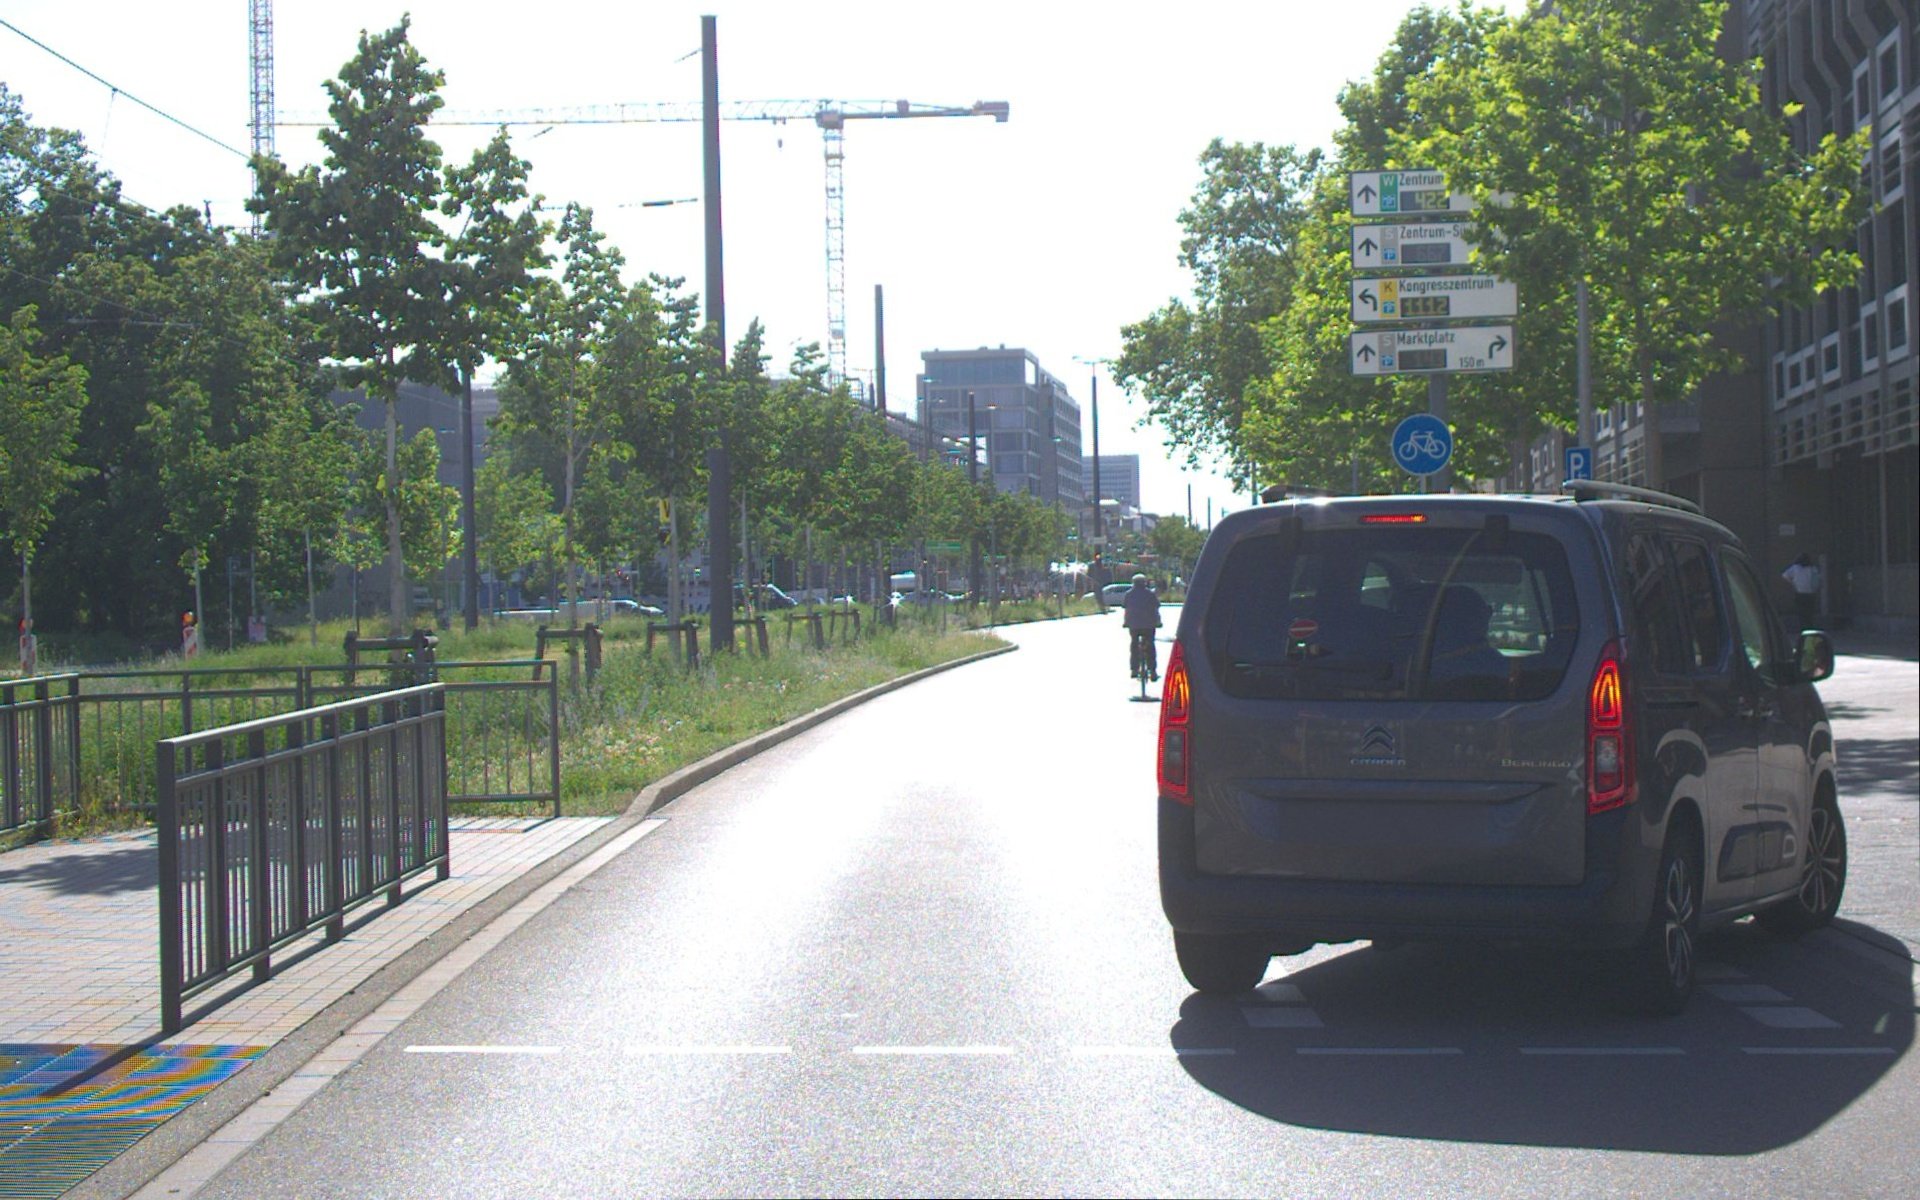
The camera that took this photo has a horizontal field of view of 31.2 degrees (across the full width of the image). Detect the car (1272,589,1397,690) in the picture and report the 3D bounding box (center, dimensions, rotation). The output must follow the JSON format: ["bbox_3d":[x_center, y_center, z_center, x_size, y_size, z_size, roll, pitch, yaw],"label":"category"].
[{"bbox_3d":[5.889,0.595,54.423,1.618,1.460,4.155,-3,0,2],"label":"car"}]

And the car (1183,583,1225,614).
[{"bbox_3d":[12.273,-0.085,172.640,1.912,1.481,4.008,-1,0,6],"label":"car"}]

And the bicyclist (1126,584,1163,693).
[{"bbox_3d":[2.715,0.566,50.641,0.512,1.596,0.536,-1,0,2],"label":"bicyclist"}]

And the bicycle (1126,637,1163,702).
[{"bbox_3d":[2.708,1.012,50.499,0.497,0.903,2.196,1,0,2],"label":"bicycle"}]

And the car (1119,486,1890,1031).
[{"bbox_3d":[2.270,0.504,13.284,1.814,1.746,4.162,-1,0,25],"label":"car"}]

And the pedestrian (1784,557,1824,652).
[{"bbox_3d":[14.766,0.076,60.159,0.511,1.617,0.674,-3,0,6],"label":"pedestrian"}]

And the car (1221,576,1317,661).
[{"bbox_3d":[6.482,0.369,72.493,1.849,1.651,4.848,-3,0,4],"label":"car"}]
